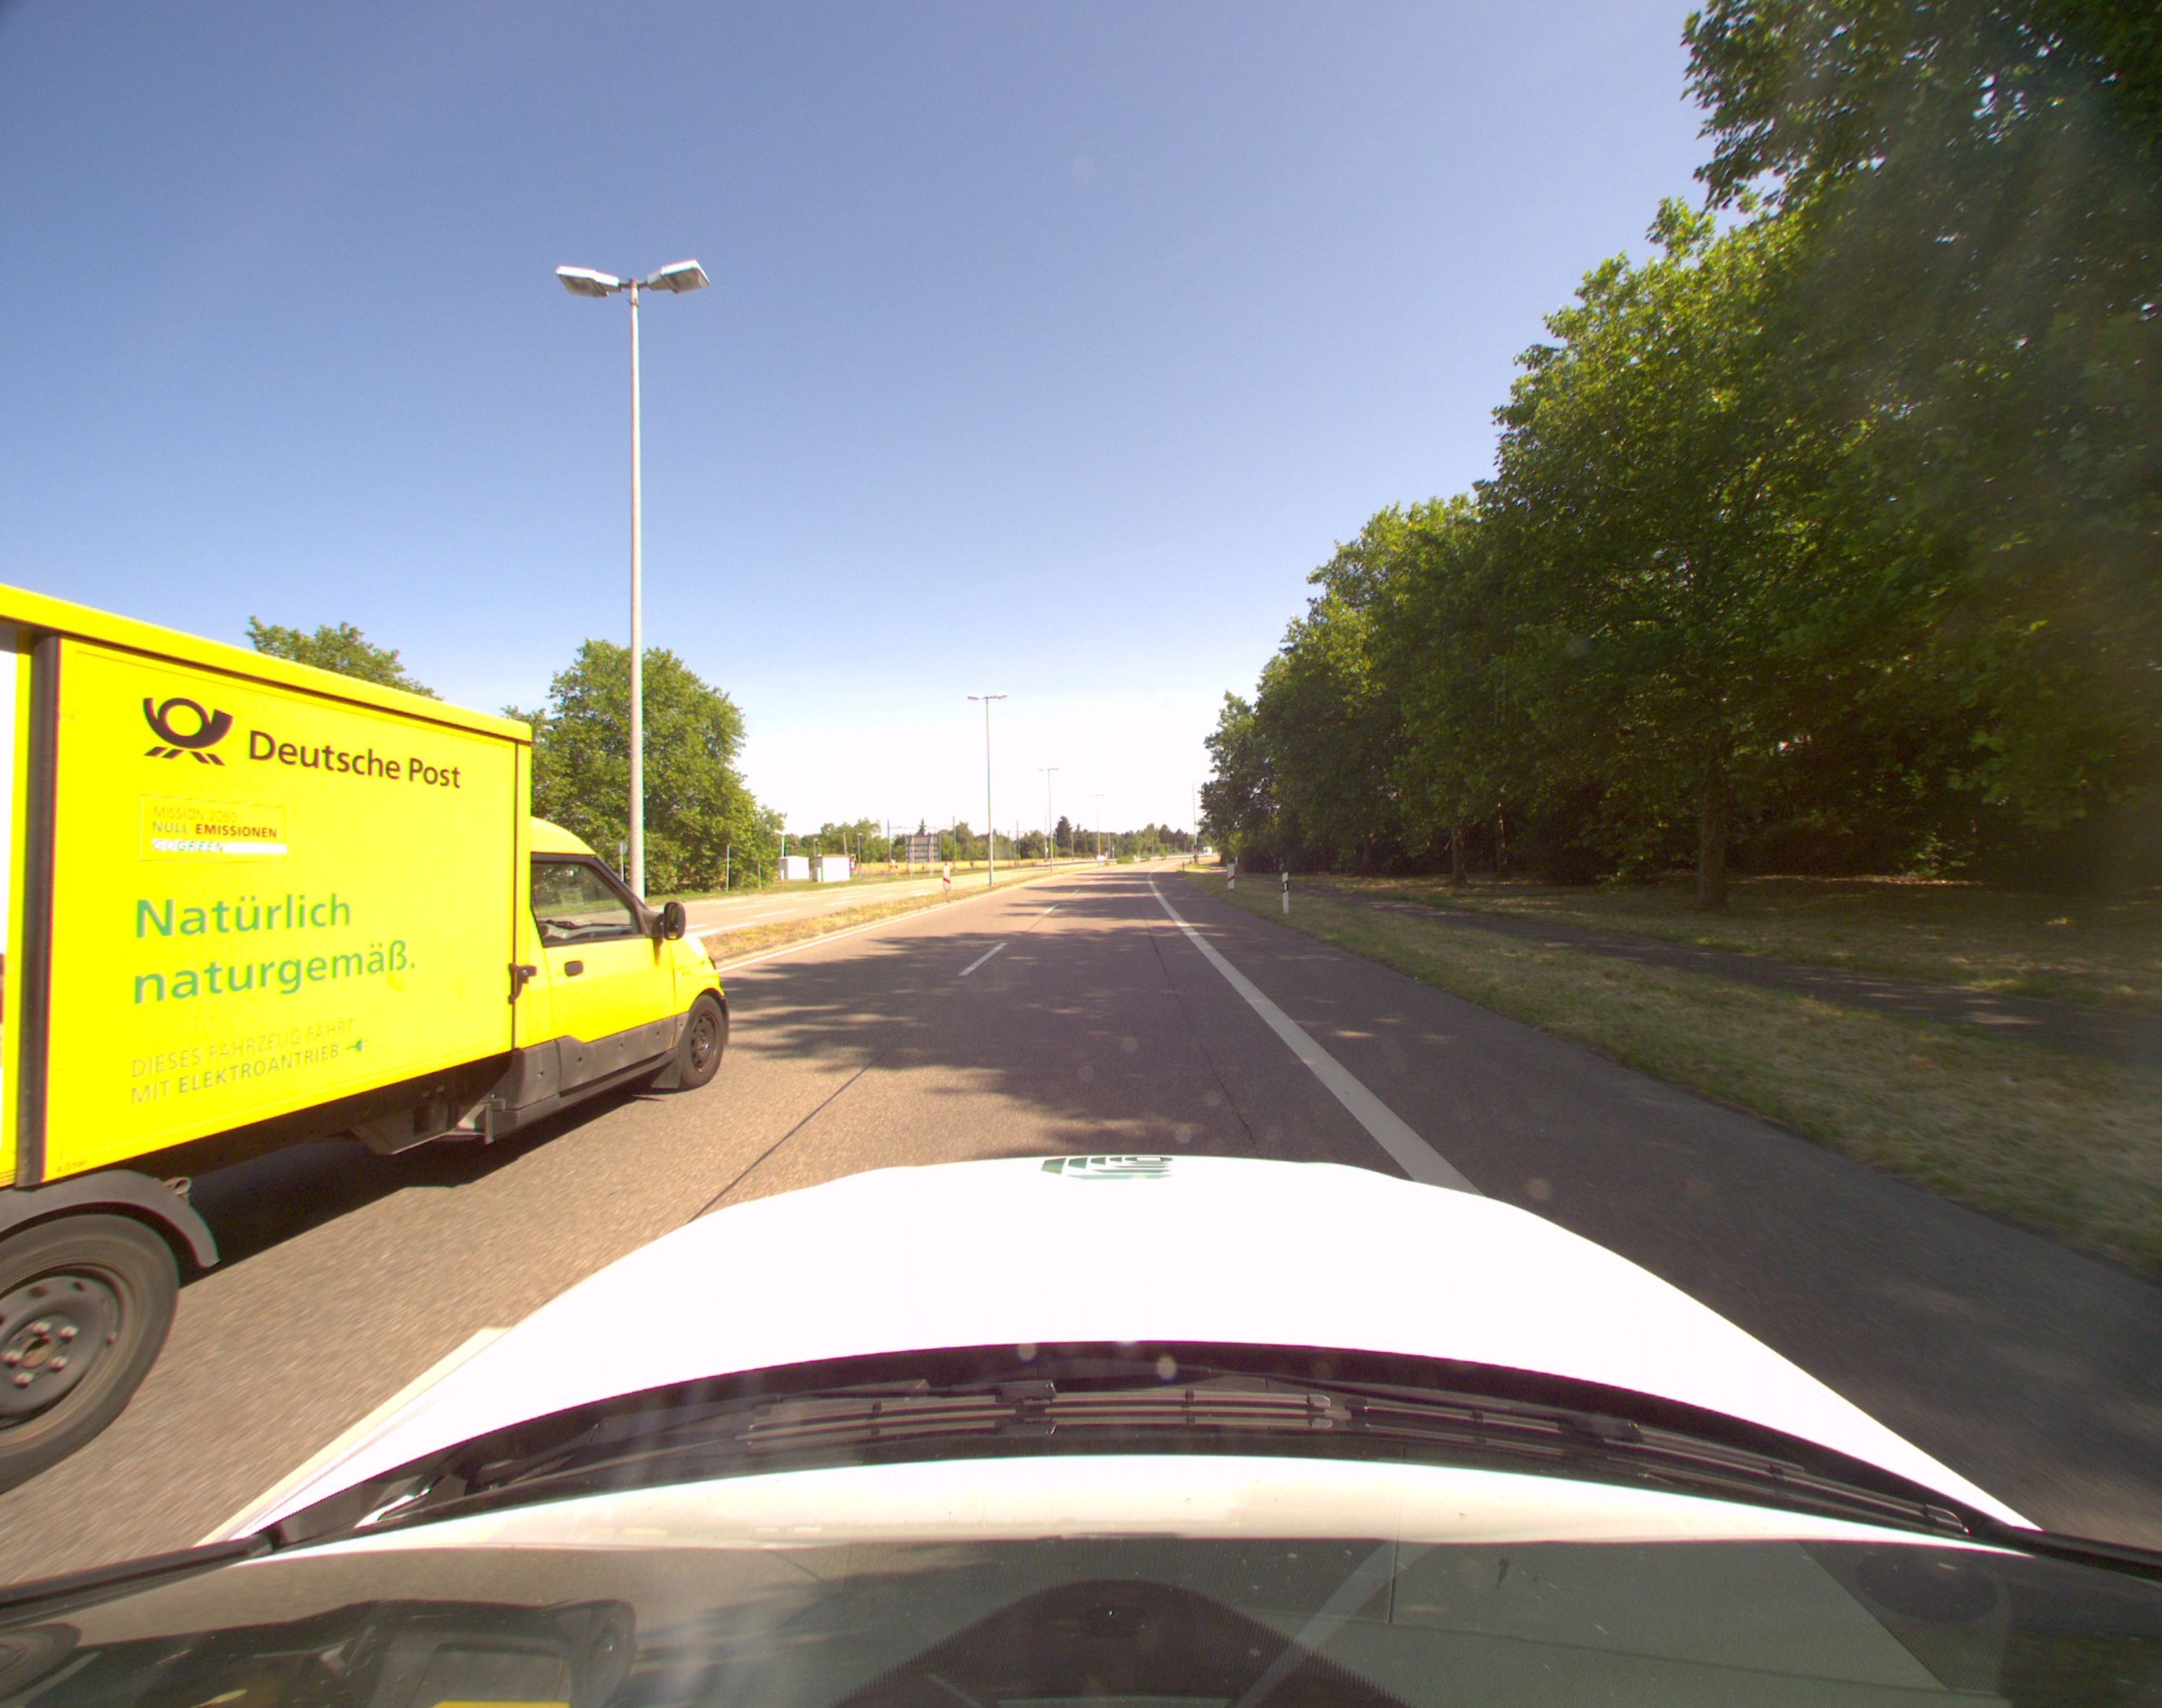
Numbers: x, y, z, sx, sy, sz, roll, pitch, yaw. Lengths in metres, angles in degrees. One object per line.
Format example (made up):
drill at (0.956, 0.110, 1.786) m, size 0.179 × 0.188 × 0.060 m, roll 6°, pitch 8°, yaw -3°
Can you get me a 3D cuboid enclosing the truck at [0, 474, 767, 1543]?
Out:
truck at (-3.526, 0.368, 3.356) m, size 2.105 × 2.457 × 5.917 m, roll -1°, pitch 0°, yaw 0°
